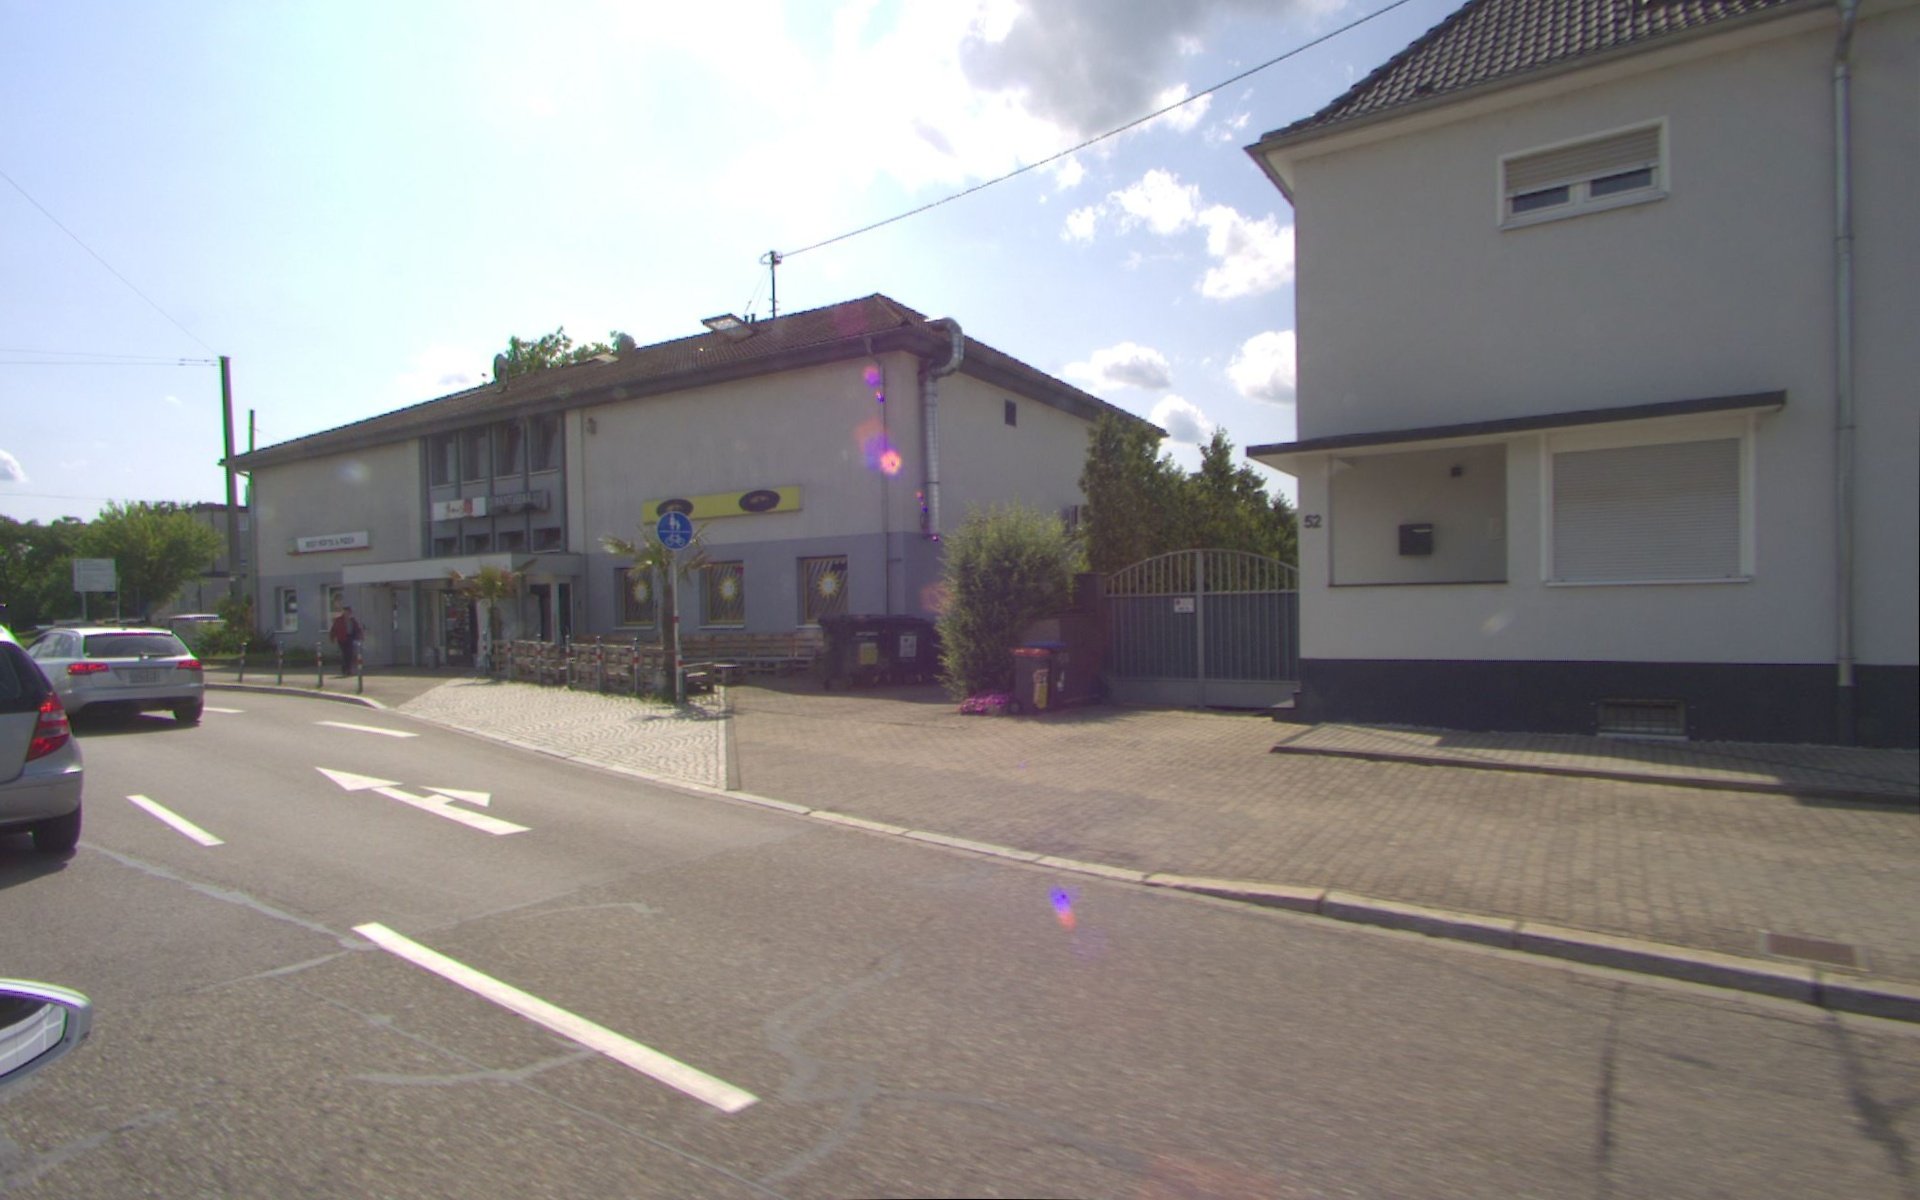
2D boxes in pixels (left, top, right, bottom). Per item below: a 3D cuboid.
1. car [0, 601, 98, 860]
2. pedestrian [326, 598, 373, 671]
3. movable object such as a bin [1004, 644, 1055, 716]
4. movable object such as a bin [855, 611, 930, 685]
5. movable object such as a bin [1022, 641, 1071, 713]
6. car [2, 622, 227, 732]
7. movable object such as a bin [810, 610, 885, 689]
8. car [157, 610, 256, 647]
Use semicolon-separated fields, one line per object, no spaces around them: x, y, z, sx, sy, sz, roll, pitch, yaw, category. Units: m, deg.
-7.753;0.832;7.127;4.045;1.597;1.779;-1;0;39;car
-15.534;0.866;25.480;0.693;1.807;0.719;0;3;34;pedestrian
0.918;1.048;13.230;0.537;0.907;0.444;0;1;27;movable object such as a bin
-1.310;0.914;19.565;0.876;1.351;1.199;3;2;40;movable object such as a bin
1.183;1.039;13.656;0.541;0.947;0.440;0;1;28;movable object such as a bin
-13.555;1.118;15.966;4.478;1.512;1.848;-1;-1;38;car
-2.067;0.885;18.408;0.874;1.351;1.079;2;2;34;movable object such as a bin
-38.861;1.424;51.798;1.854;1.753;4.094;-3;-1;3;car
